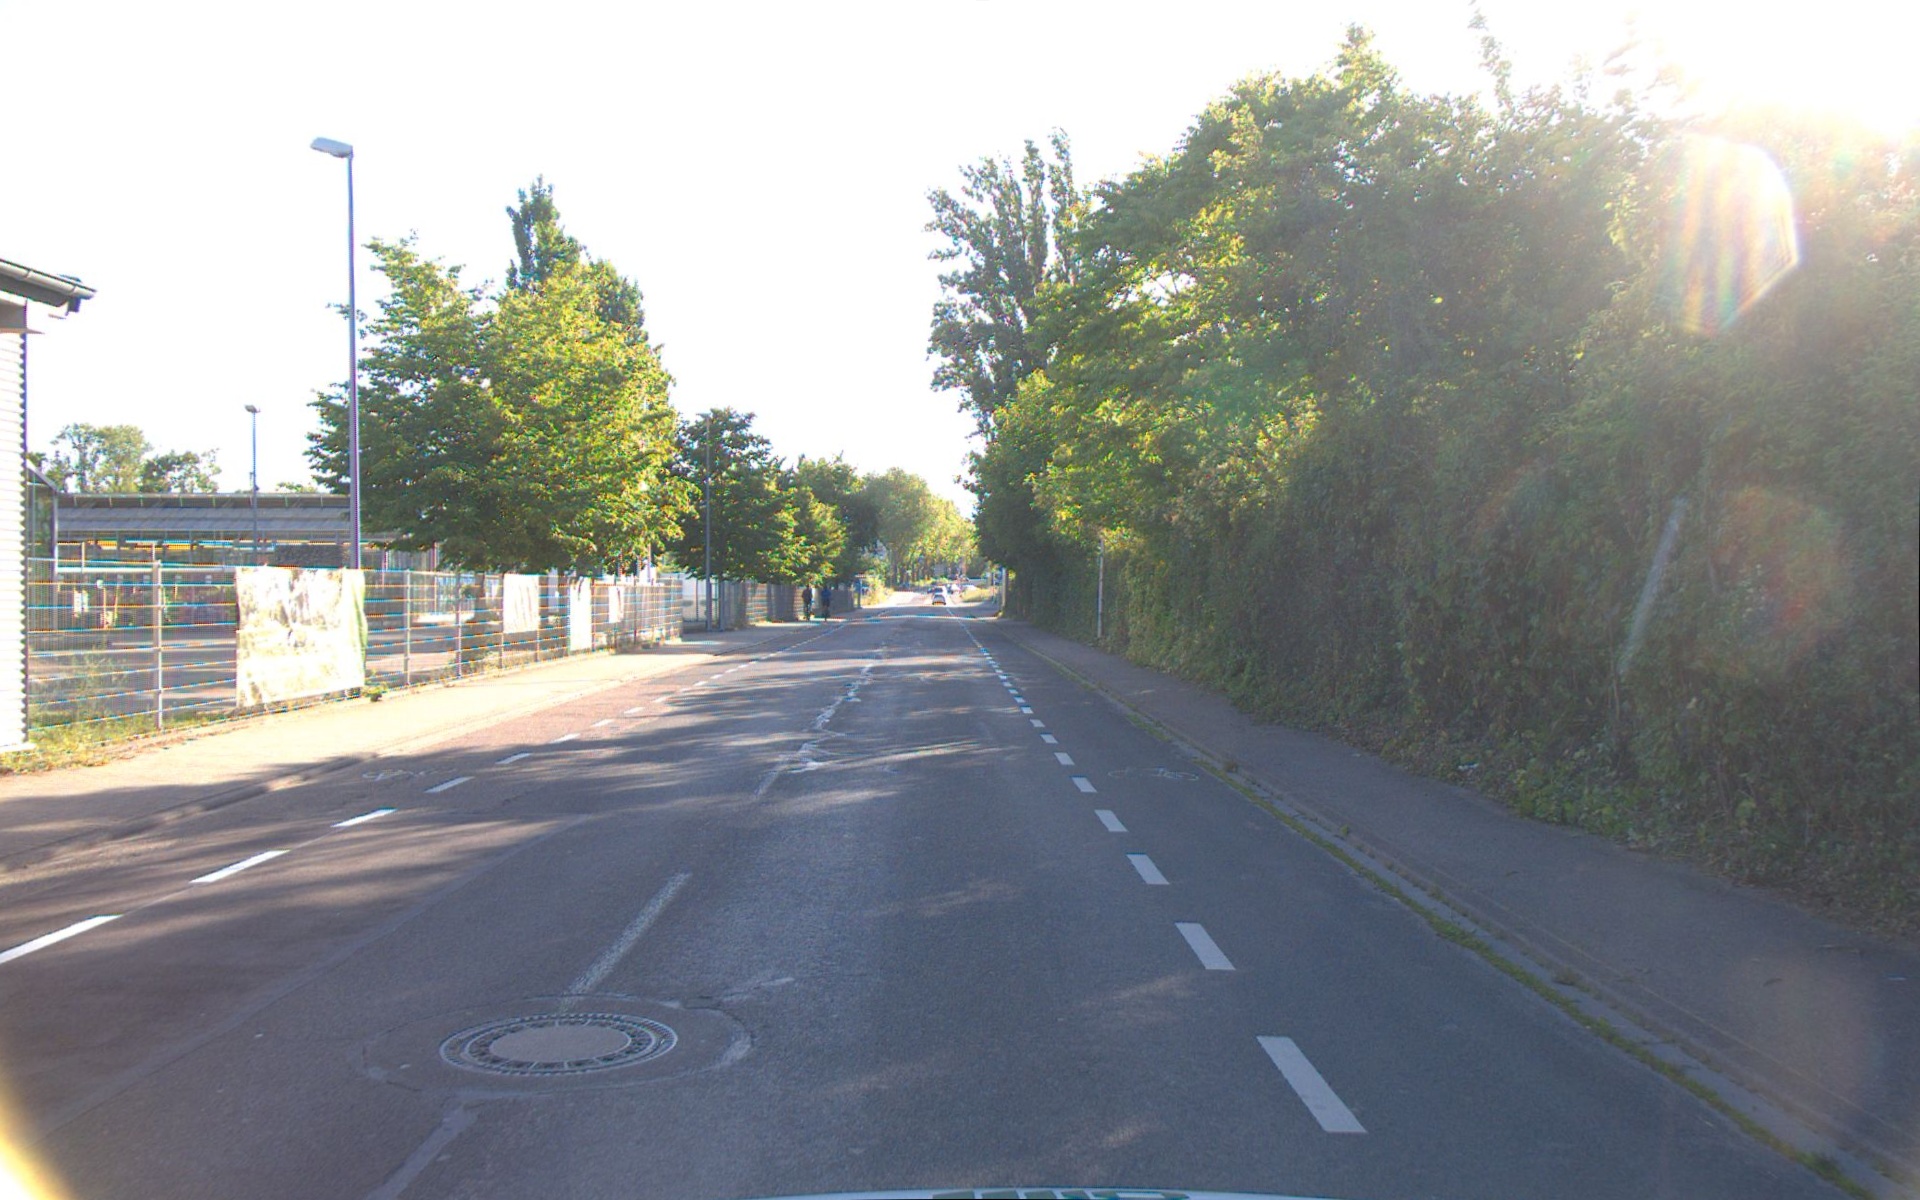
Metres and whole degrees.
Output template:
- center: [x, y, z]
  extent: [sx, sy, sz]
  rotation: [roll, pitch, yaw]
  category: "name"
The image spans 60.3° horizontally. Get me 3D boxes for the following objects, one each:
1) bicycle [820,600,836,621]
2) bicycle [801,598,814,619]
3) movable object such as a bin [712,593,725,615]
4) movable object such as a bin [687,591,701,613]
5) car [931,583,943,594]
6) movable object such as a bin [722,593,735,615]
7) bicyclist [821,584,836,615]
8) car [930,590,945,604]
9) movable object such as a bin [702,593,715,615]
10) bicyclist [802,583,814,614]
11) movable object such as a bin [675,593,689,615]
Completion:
- center: [-6.876, 0.542, 86.164]
  extent: [0.675, 1.052, 1.351]
  rotation: [2, 0, -1]
  category: "bicycle"
- center: [-7.957, 0.445, 86.496]
  extent: [0.551, 1.052, 1.351]
  rotation: [2, 0, -1]
  category: "bicycle"
- center: [-12.262, 0.202, 84.137]
  extent: [0.453, 1.095, 1.569]
  rotation: [0, 0, -1]
  category: "movable object such as a bin"
- center: [-13.516, 0.116, 83.972]
  extent: [0.453, 1.095, 1.569]
  rotation: [0, 0, -1]
  category: "movable object such as a bin"
- center: [-3.590, -1.845, 258.384]
  extent: [1.903, 1.679, 4.309]
  rotation: [2, 1, -1]
  category: "car"
- center: [-11.756, 0.200, 83.968]
  extent: [0.453, 1.095, 1.569]
  rotation: [0, 0, -1]
  category: "movable object such as a bin"
- center: [-6.860, -0.024, 86.037]
  extent: [0.675, 1.558, 0.722]
  rotation: [2, 0, -1]
  category: "bicyclist"
- center: [-2.832, -0.403, 208.598]
  extent: [1.903, 1.679, 4.309]
  rotation: [2, 1, -1]
  category: "car"
- center: [-12.795, 0.202, 84.063]
  extent: [0.453, 1.095, 1.569]
  rotation: [0, 0, -1]
  category: "movable object such as a bin"
- center: [-7.942, -0.073, 86.415]
  extent: [0.548, 1.560, 0.689]
  rotation: [2, 0, -1]
  category: "bicyclist"
- center: [-14.078, 0.201, 83.899]
  extent: [0.453, 1.095, 1.569]
  rotation: [0, 0, -1]
  category: "movable object such as a bin"
